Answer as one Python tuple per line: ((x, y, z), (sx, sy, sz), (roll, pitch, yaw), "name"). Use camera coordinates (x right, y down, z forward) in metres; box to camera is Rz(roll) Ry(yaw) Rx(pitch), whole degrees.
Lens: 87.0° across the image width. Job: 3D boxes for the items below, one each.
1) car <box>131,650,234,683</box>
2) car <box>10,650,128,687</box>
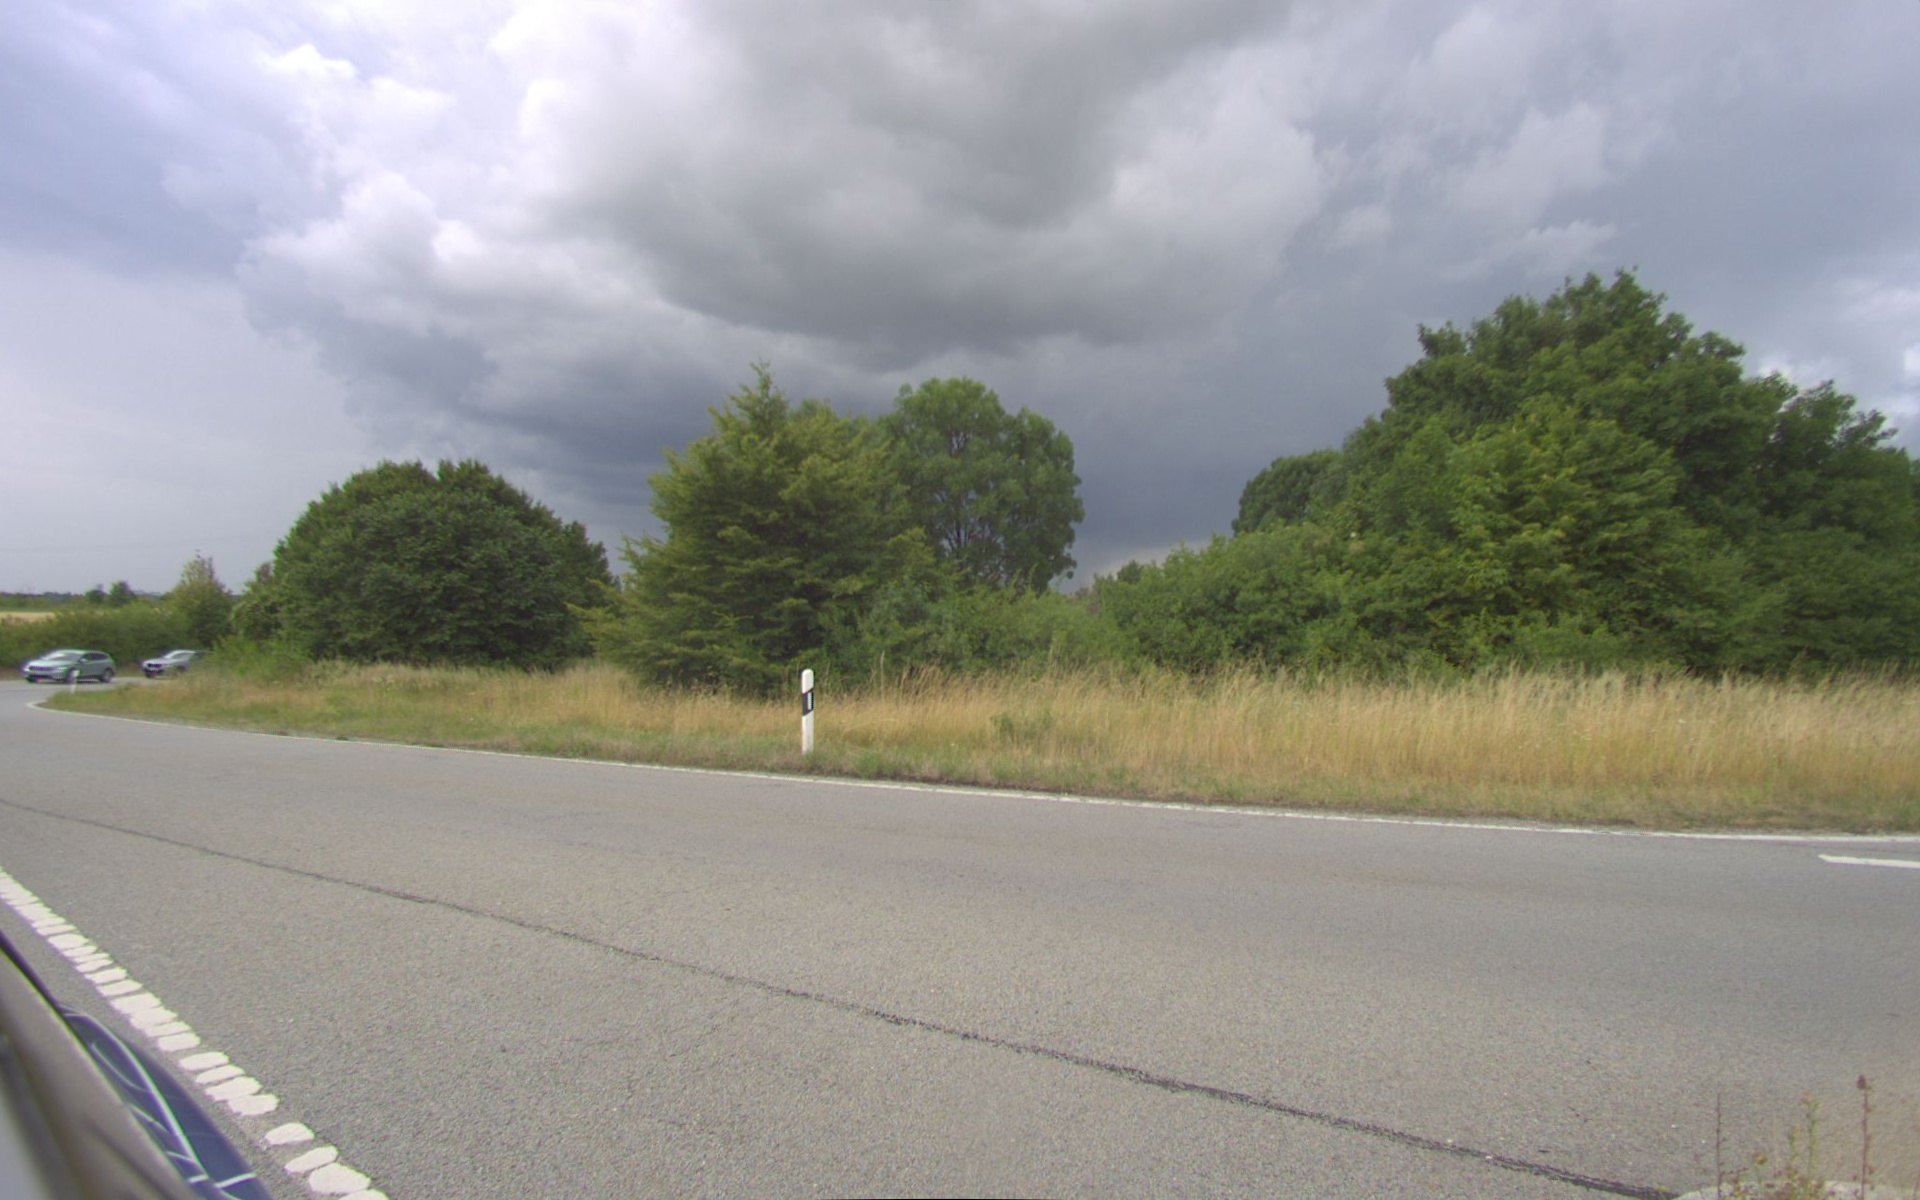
((-45.848, 3.898, 59.870), (1.972, 1.732, 5.207), (2, -2, 1), "car")
((-44.600, 3.451, 50.843), (1.967, 1.733, 5.220), (3, -4, -11), "car")
